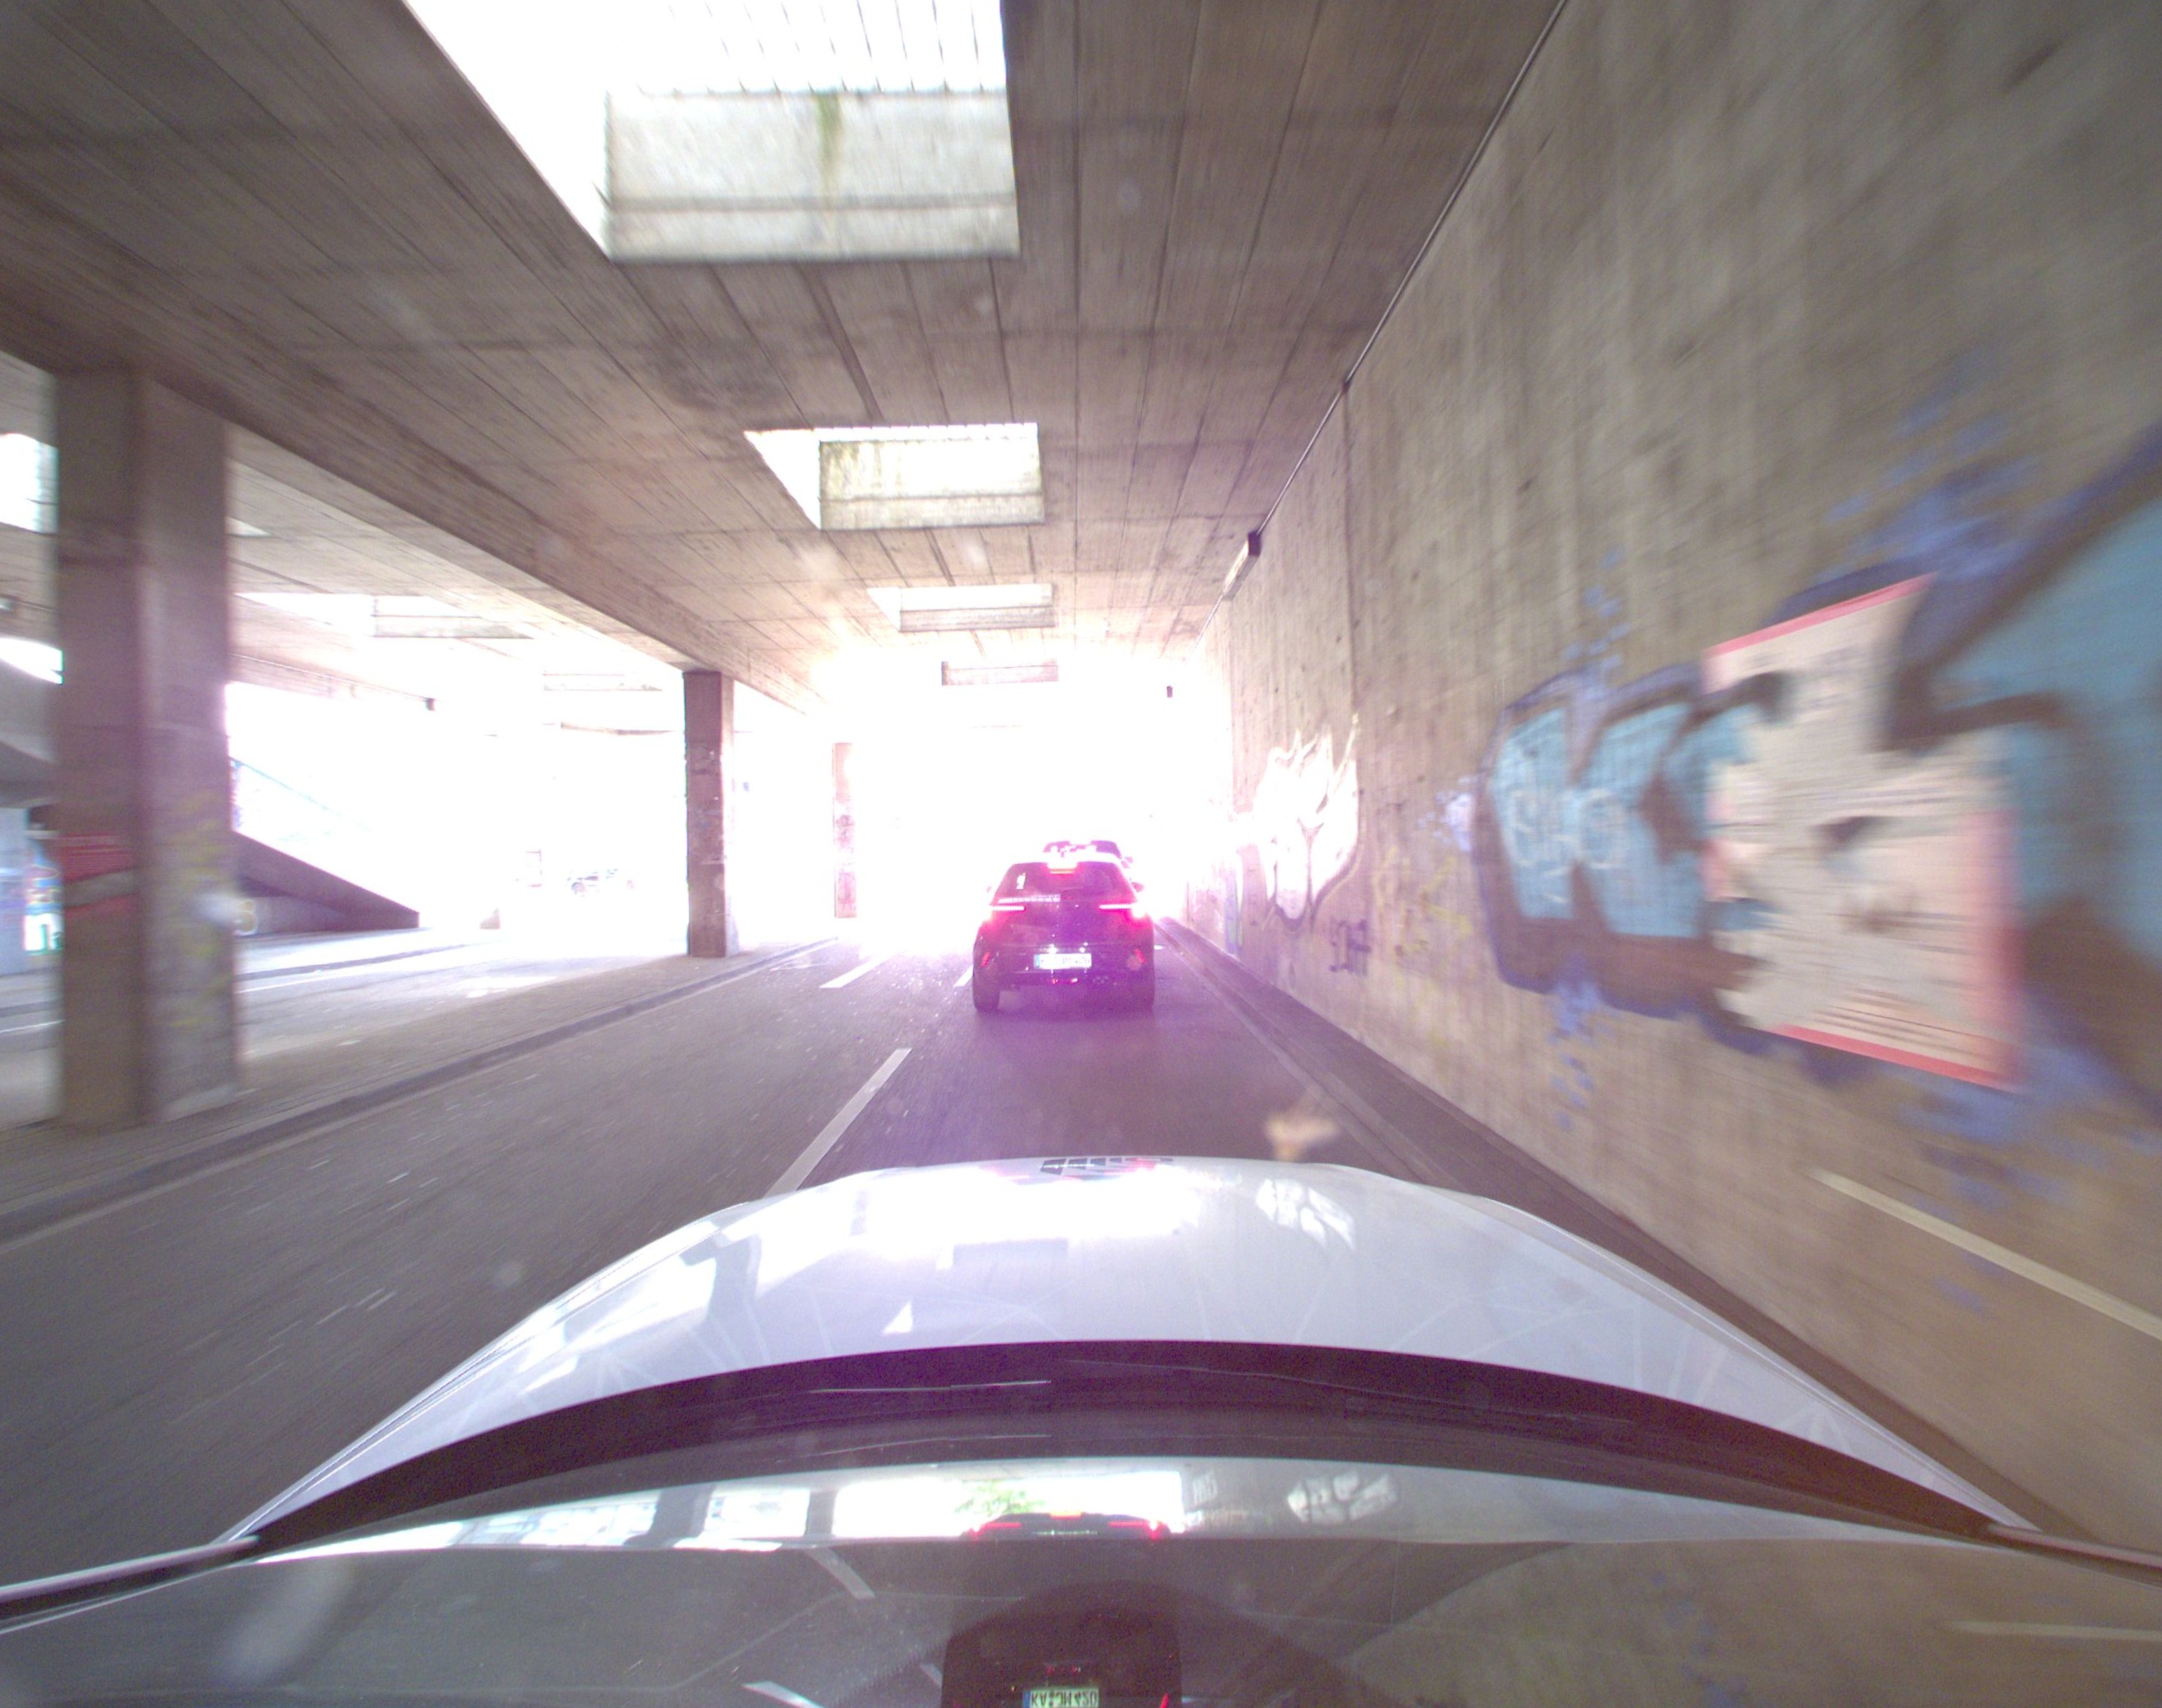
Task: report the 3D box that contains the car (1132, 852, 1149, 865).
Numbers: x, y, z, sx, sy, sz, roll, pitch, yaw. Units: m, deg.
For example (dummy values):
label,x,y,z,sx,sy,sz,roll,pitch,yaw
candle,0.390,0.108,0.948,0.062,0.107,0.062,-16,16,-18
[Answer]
label,x,y,z,sx,sy,sz,roll,pitch,yaw
car,9.282,0.697,127.472,1.980,2.013,4.283,-2,0,12

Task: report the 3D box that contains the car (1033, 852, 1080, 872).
label,x,y,z,sx,sy,sz,roll,pitch,yaw
car,-2.279,0.767,76.389,4.129,1.739,2.004,-2,0,6

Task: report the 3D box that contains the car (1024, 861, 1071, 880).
label,x,y,z,sx,sy,sz,roll,pitch,yaw
car,-2.982,1.415,72.006,3.970,1.574,1.641,-1,-1,3

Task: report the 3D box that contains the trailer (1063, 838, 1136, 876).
label,x,y,z,sx,sy,sz,roll,pitch,yaw
trailer,1.085,0.176,46.447,3.969,2.013,2.002,-2,0,4

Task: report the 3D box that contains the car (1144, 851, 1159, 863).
label,x,y,z,sx,sy,sz,roll,pitch,yaw
car,12.339,0.510,141.618,1.980,2.013,4.283,-2,0,12

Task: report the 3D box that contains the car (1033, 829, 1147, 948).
label,x,y,z,sx,sy,sz,roll,pitch,yaw
car,0.131,0.549,15.558,1.809,1.882,4.584,-2,0,-1

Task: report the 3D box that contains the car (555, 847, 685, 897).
label,x,y,z,sx,sy,sz,roll,pitch,yaw
car,-20.245,0.775,35.925,4.466,2.013,2.000,-1,2,-1

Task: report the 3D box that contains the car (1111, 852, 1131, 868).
label,x,y,z,sx,sy,sz,roll,pitch,yaw
car,5.346,0.810,108.015,1.980,2.013,4.283,-2,0,12

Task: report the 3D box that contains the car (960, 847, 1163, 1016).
label,x,y,z,sx,sy,sz,roll,pitch,yaw
car,-0.168,0.698,9.533,1.820,1.501,4.210,-1,0,0

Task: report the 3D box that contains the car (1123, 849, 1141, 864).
label,x,y,z,sx,sy,sz,roll,pitch,yaw
car,7.396,0.365,118.425,1.980,2.013,4.283,-2,0,12
